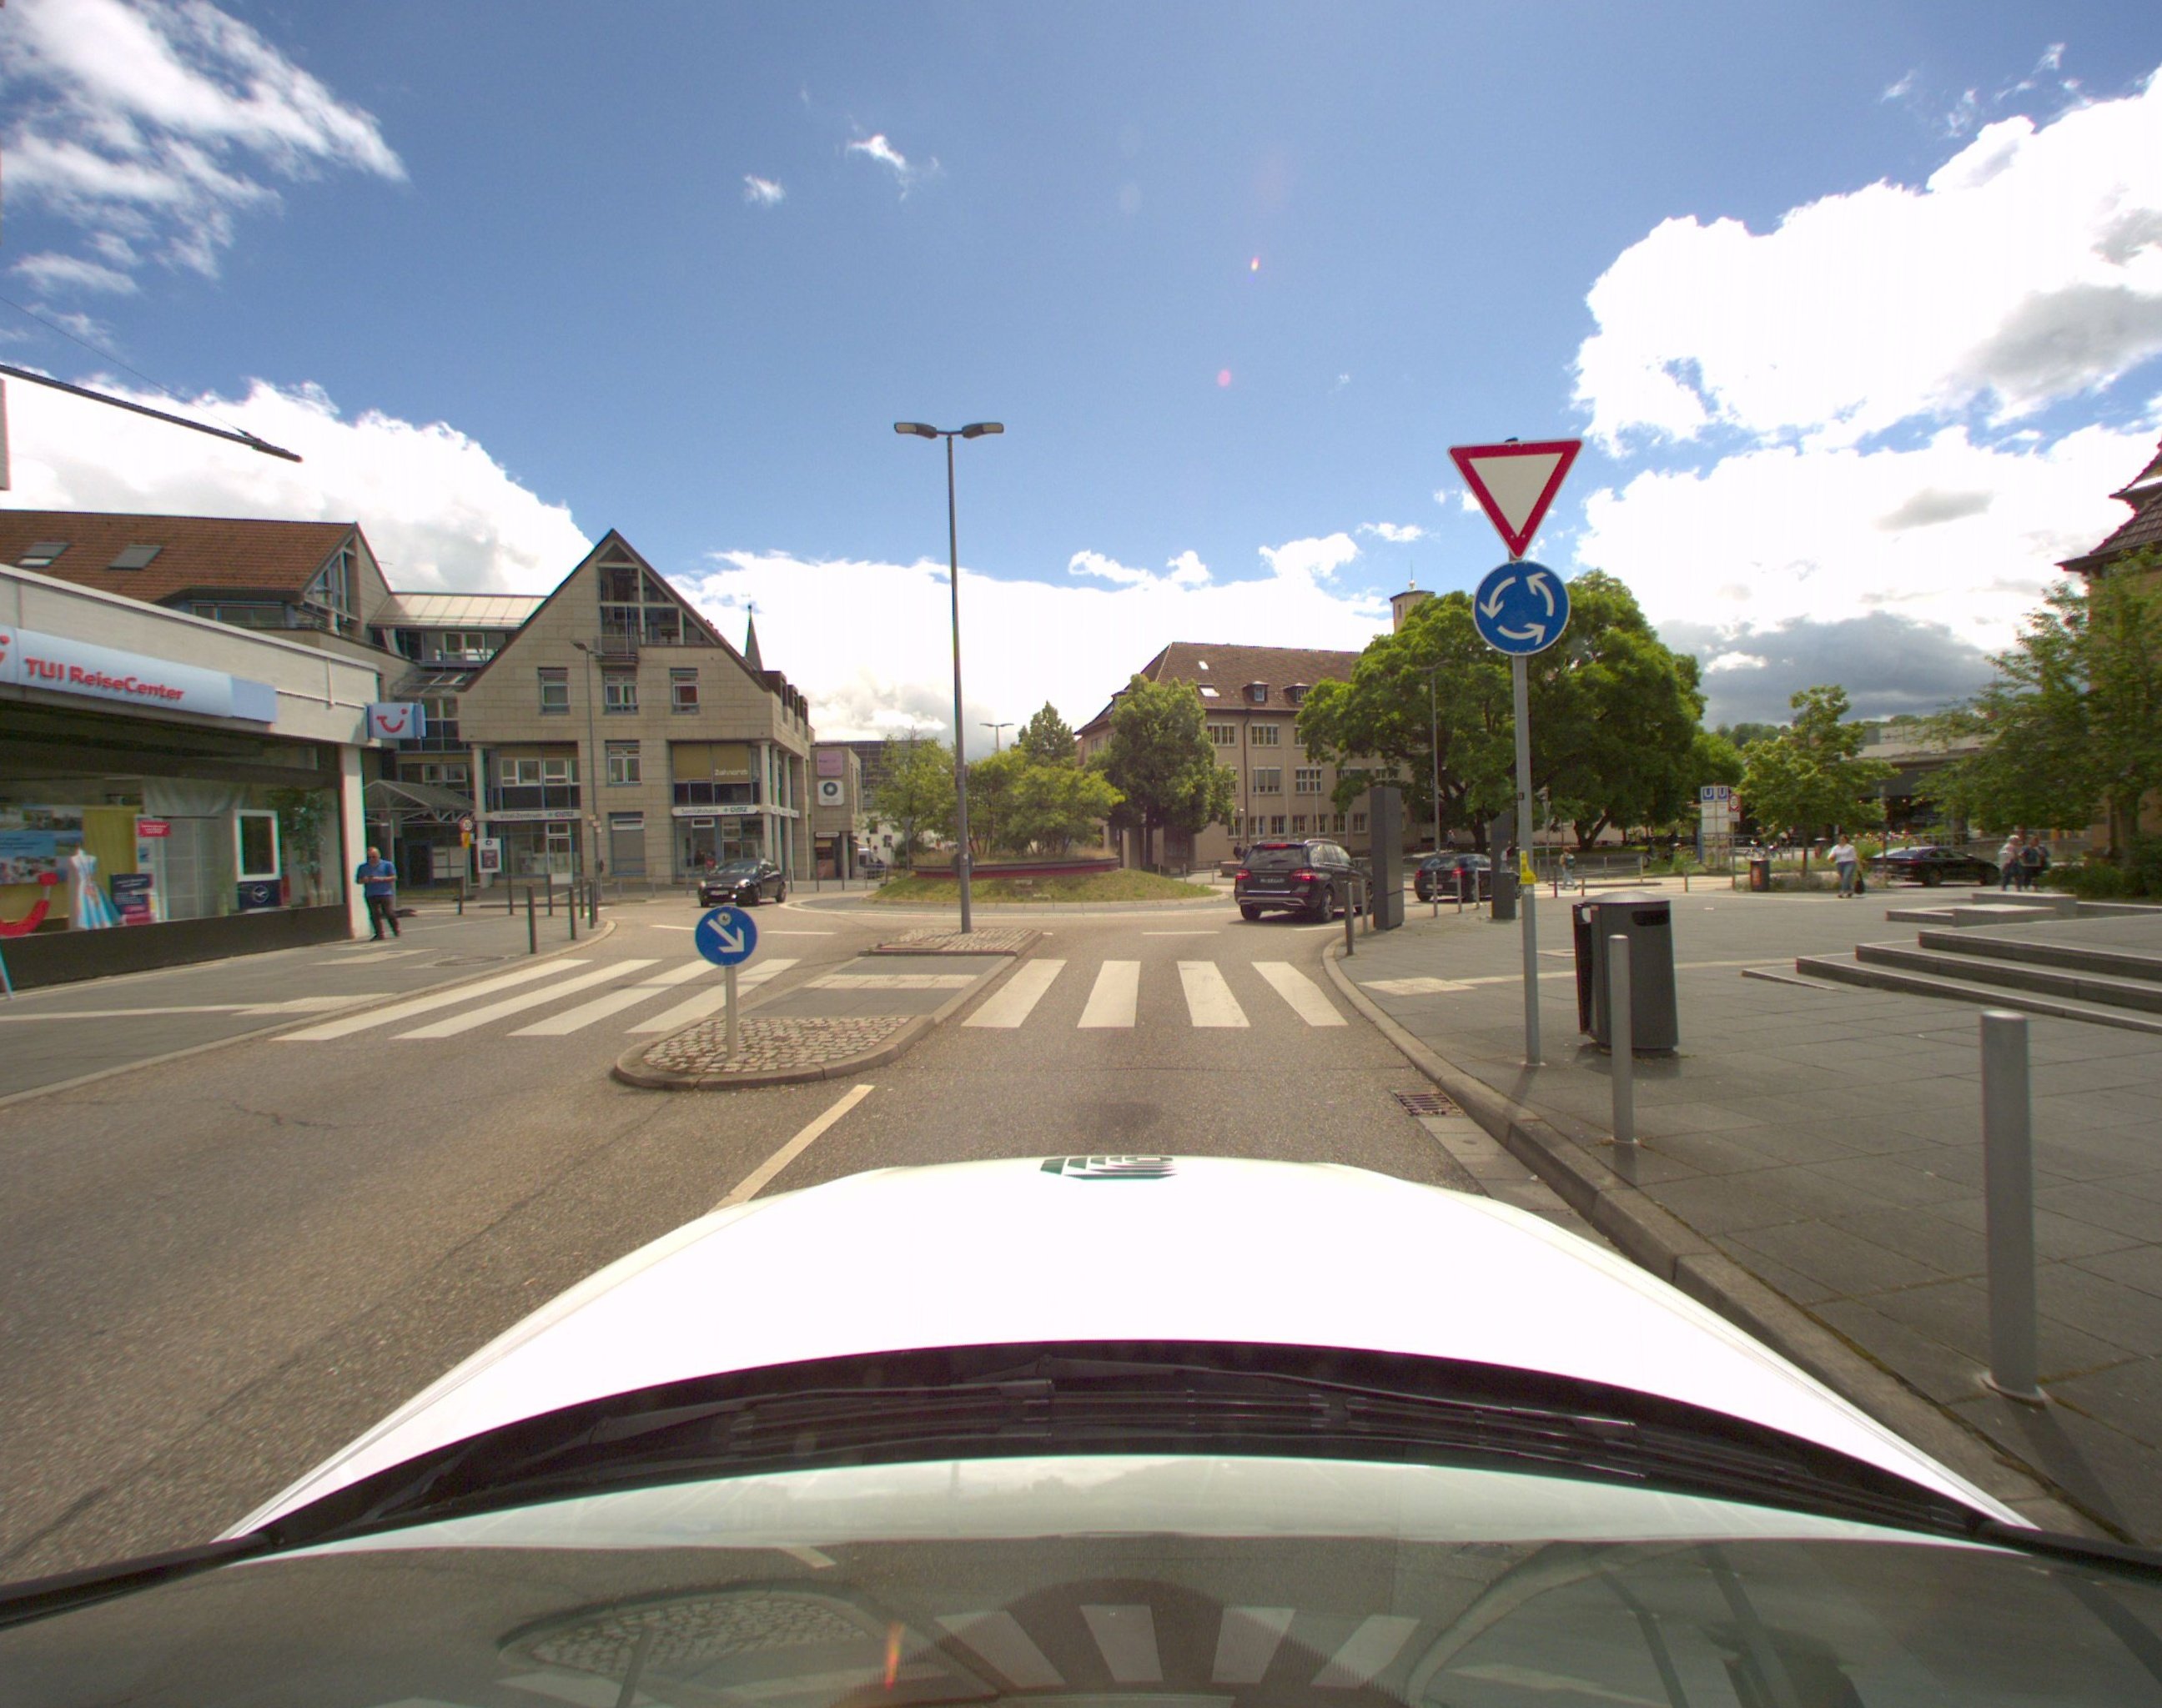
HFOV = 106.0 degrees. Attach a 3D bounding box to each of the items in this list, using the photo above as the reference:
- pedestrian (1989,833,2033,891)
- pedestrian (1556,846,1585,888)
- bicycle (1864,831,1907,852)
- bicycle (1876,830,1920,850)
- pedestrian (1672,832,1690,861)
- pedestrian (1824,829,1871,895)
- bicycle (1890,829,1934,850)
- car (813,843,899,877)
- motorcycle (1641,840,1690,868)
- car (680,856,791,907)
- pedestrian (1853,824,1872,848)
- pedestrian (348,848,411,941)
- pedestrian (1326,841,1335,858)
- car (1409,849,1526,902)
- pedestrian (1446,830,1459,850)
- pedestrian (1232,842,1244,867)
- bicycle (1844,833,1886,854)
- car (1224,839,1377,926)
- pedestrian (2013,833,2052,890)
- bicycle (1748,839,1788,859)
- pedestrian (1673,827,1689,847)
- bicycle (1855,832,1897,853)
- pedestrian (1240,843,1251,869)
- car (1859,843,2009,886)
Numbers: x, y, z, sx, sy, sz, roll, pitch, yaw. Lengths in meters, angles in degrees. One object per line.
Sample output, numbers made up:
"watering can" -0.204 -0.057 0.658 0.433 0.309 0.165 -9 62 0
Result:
"pedestrian" 26.903 0.231 23.567 0.548 1.629 0.681 -1 -1 19
"pedestrian" 17.987 0.468 29.950 0.549 1.514 0.787 -3 2 -3
"bicycle" 43.081 -0.653 43.605 0.577 1.091 1.565 -1 0 -15
"bicycle" 43.989 -0.744 43.869 0.577 1.091 1.565 -1 0 -15
"pedestrian" 33.523 -0.407 45.497 0.617 1.577 0.578 -1 0 -26
"pedestrian" 20.603 0.209 21.892 0.779 1.745 0.700 -1 -1 -33
"bicycle" 44.911 -0.771 44.020 0.577 1.091 1.565 -1 0 -15
"car" -17.880 0.522 64.788 6.316 2.560 2.187 0 -3 -26
"motorcycle" 28.940 -0.039 40.368 0.582 1.289 2.130 -3 2 -13
"car" -10.605 0.857 25.316 1.693 1.419 4.117 -1 -2 -1
"pedestrian" 48.129 -1.108 50.173 0.613 1.463 0.581 -1 0 -8
"pedestrian" -12.472 0.710 14.488 0.566 1.603 0.605 -1 0 -4
"pedestrian" 17.777 -0.340 58.106 0.482 1.182 0.584 0 0 31
"car" 11.667 0.603 24.504 3.854 1.383 1.595 -2 0 -38
"pedestrian" 27.935 -1.067 61.190 0.694 1.492 0.817 0 0 11
"pedestrian" 9.741 0.043 50.635 0.634 1.523 0.577 -1 4 -1
"bicycle" 41.579 -0.556 43.210 0.577 1.091 1.565 -1 0 -15
"car" 5.147 0.530 18.634 2.008 1.727 4.462 0 1 35
"pedestrian" 27.617 0.219 23.632 0.507 1.629 0.505 -1 -1 -3
"bicycle" 34.921 -0.249 41.434 0.498 0.997 1.611 -1 0 -9
"pedestrian" 49.885 -1.400 67.729 0.636 1.627 0.784 -1 0 -17
"bicycle" 42.331 -0.613 43.368 0.538 1.069 1.565 -1 0 -15
"pedestrian" 10.077 0.124 49.928 0.571 1.608 0.437 -1 4 -1
"car" 30.643 0.350 29.294 4.367 1.406 1.853 -1 -1 -15
